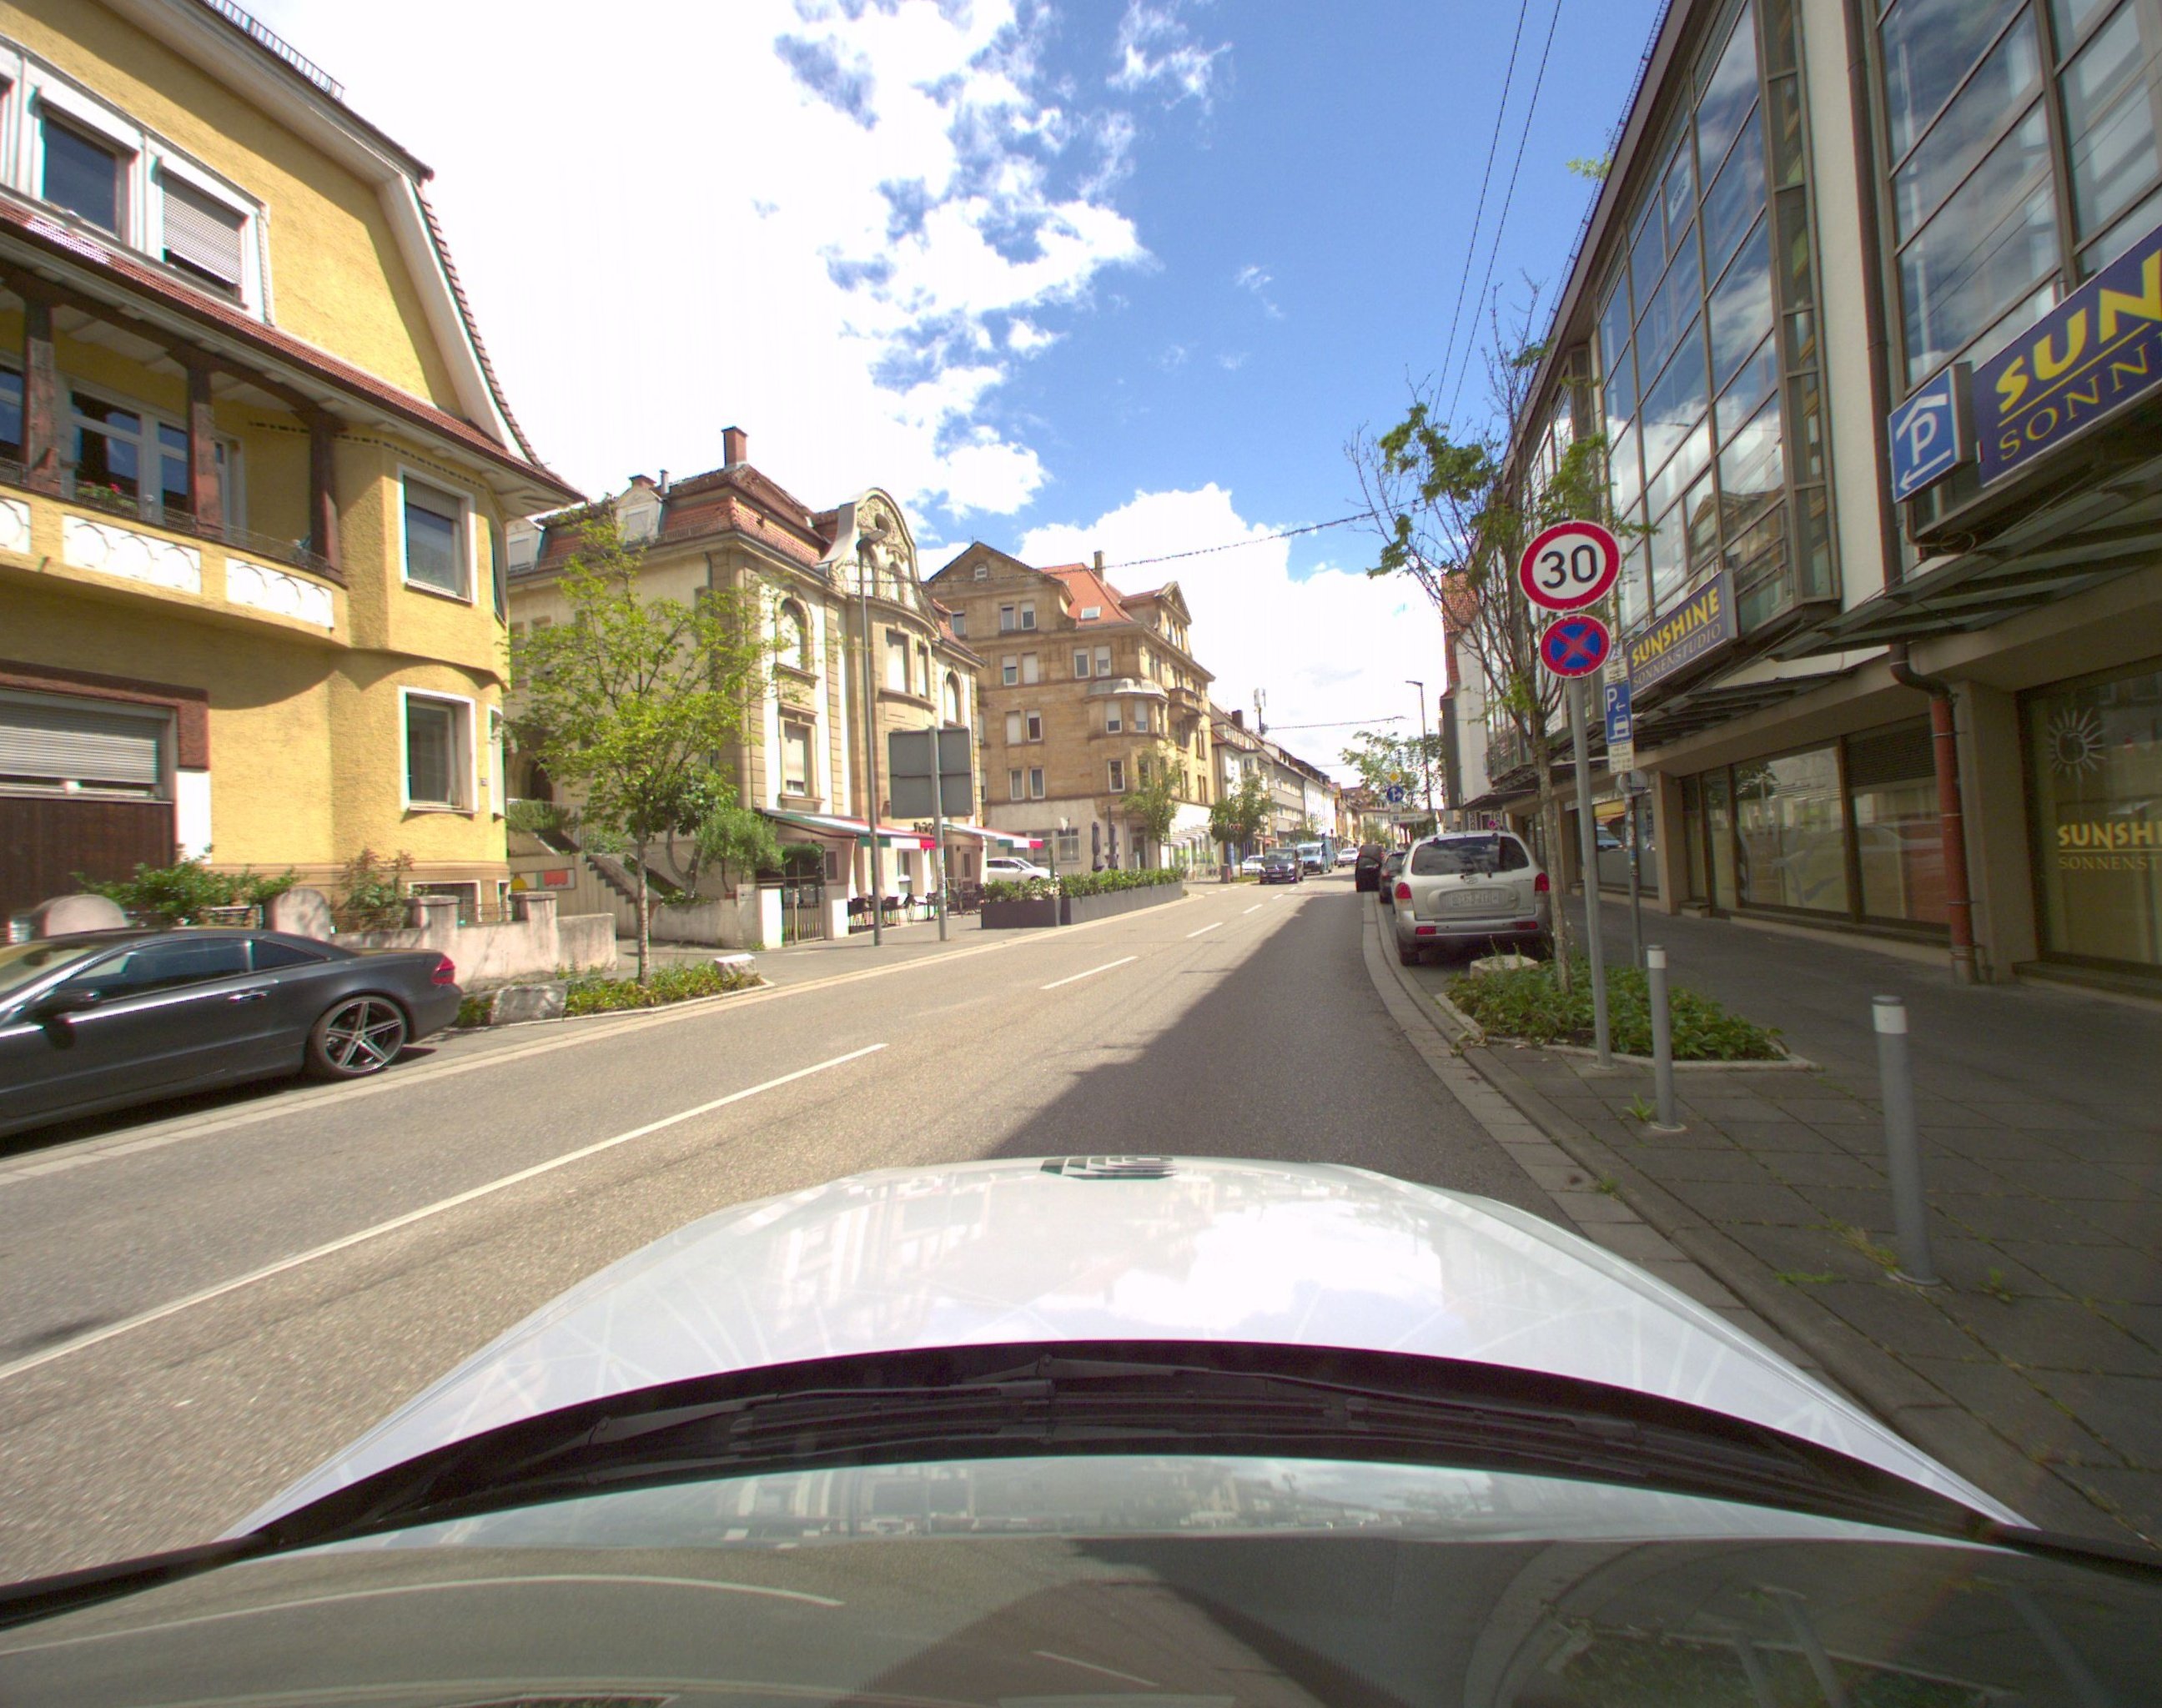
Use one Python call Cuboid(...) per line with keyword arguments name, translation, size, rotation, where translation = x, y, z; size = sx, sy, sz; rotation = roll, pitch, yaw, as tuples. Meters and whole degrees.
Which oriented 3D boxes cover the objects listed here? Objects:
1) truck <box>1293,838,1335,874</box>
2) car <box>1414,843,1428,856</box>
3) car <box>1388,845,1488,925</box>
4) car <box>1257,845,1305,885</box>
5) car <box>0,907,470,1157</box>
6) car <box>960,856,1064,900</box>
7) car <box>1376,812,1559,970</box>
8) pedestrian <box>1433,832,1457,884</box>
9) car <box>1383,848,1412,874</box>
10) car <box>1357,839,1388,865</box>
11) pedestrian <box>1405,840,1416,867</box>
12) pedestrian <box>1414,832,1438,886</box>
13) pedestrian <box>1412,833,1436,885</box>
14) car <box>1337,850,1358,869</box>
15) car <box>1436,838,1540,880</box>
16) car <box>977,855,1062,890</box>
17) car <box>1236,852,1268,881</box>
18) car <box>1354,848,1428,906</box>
Cuboid(name="truck", translation=(15.659, 0.106, 54.577), size=(2.048, 2.165, 5.322), rotation=(-4, -1, 21))
Cuboid(name="car", translation=(63.999, -0.847, 153.290), size=(2.045, 2.301, 4.250), rotation=(-2, -1, 28))
Cuboid(name="car", translation=(7.510, 0.577, 17.444), size=(1.607, 1.434, 4.260), rotation=(-4, -1, 20))
Cuboid(name="car", translation=(10.499, 0.538, 42.583), size=(1.819, 1.835, 4.593), rotation=(-4, -1, 20))
Cuboid(name="car", translation=(-6.914, 1.147, 5.406), size=(1.697, 1.245, 4.429), rotation=(-2, 0, 15))
Cuboid(name="car", translation=(-3.082, 1.088, 37.083), size=(4.399, 1.776, 2.002), rotation=(-3, -1, 4))
Cuboid(name="car", translation=(5.276, 0.450, 11.405), size=(1.808, 1.731, 4.256), rotation=(-4, -1, 23))
Cuboid(name="pedestrian", translation=(14.432, 0.154, 32.339), size=(0.684, 2.014, 0.727), rotation=(-3, -1, 15))
Cuboid(name="car", translation=(19.414, 0.410, 50.018), size=(1.508, 1.434, 3.387), rotation=(-4, -1, 20))
Cuboid(name="car", translation=(23.160, -0.220, 64.572), size=(1.954, 1.875, 5.065), rotation=(-4, -1, 23))
Cuboid(name="pedestrian", translation=(25.187, -0.069, 62.164), size=(0.676, 2.014, 0.602), rotation=(-2, -1, 24))
Cuboid(name="pedestrian", translation=(13.343, 0.196, 31.486), size=(0.684, 2.014, 0.727), rotation=(-3, -1, 15))
Cuboid(name="pedestrian", translation=(13.613, 0.211, 32.321), size=(0.684, 2.014, 0.727), rotation=(-3, -1, 15))
Cuboid(name="car", translation=(23.990, 0.451, 73.205), size=(1.683, 1.585, 3.977), rotation=(-3, -1, 19))
Cuboid(name="car", translation=(17.782, 0.227, 35.756), size=(3.952, 1.708, 1.683), rotation=(-2, -1, 23))
Cuboid(name="car", translation=(-3.214, 0.958, 42.991), size=(3.958, 1.662, 1.917), rotation=(-3, -1, 14))
Cuboid(name="car", translation=(11.012, 0.770, 52.284), size=(1.696, 1.712, 4.017), rotation=(-3, 0, 16))
Cuboid(name="car", translation=(8.834, 0.608, 23.486), size=(1.593, 1.434, 4.192), rotation=(-4, -1, 16))
